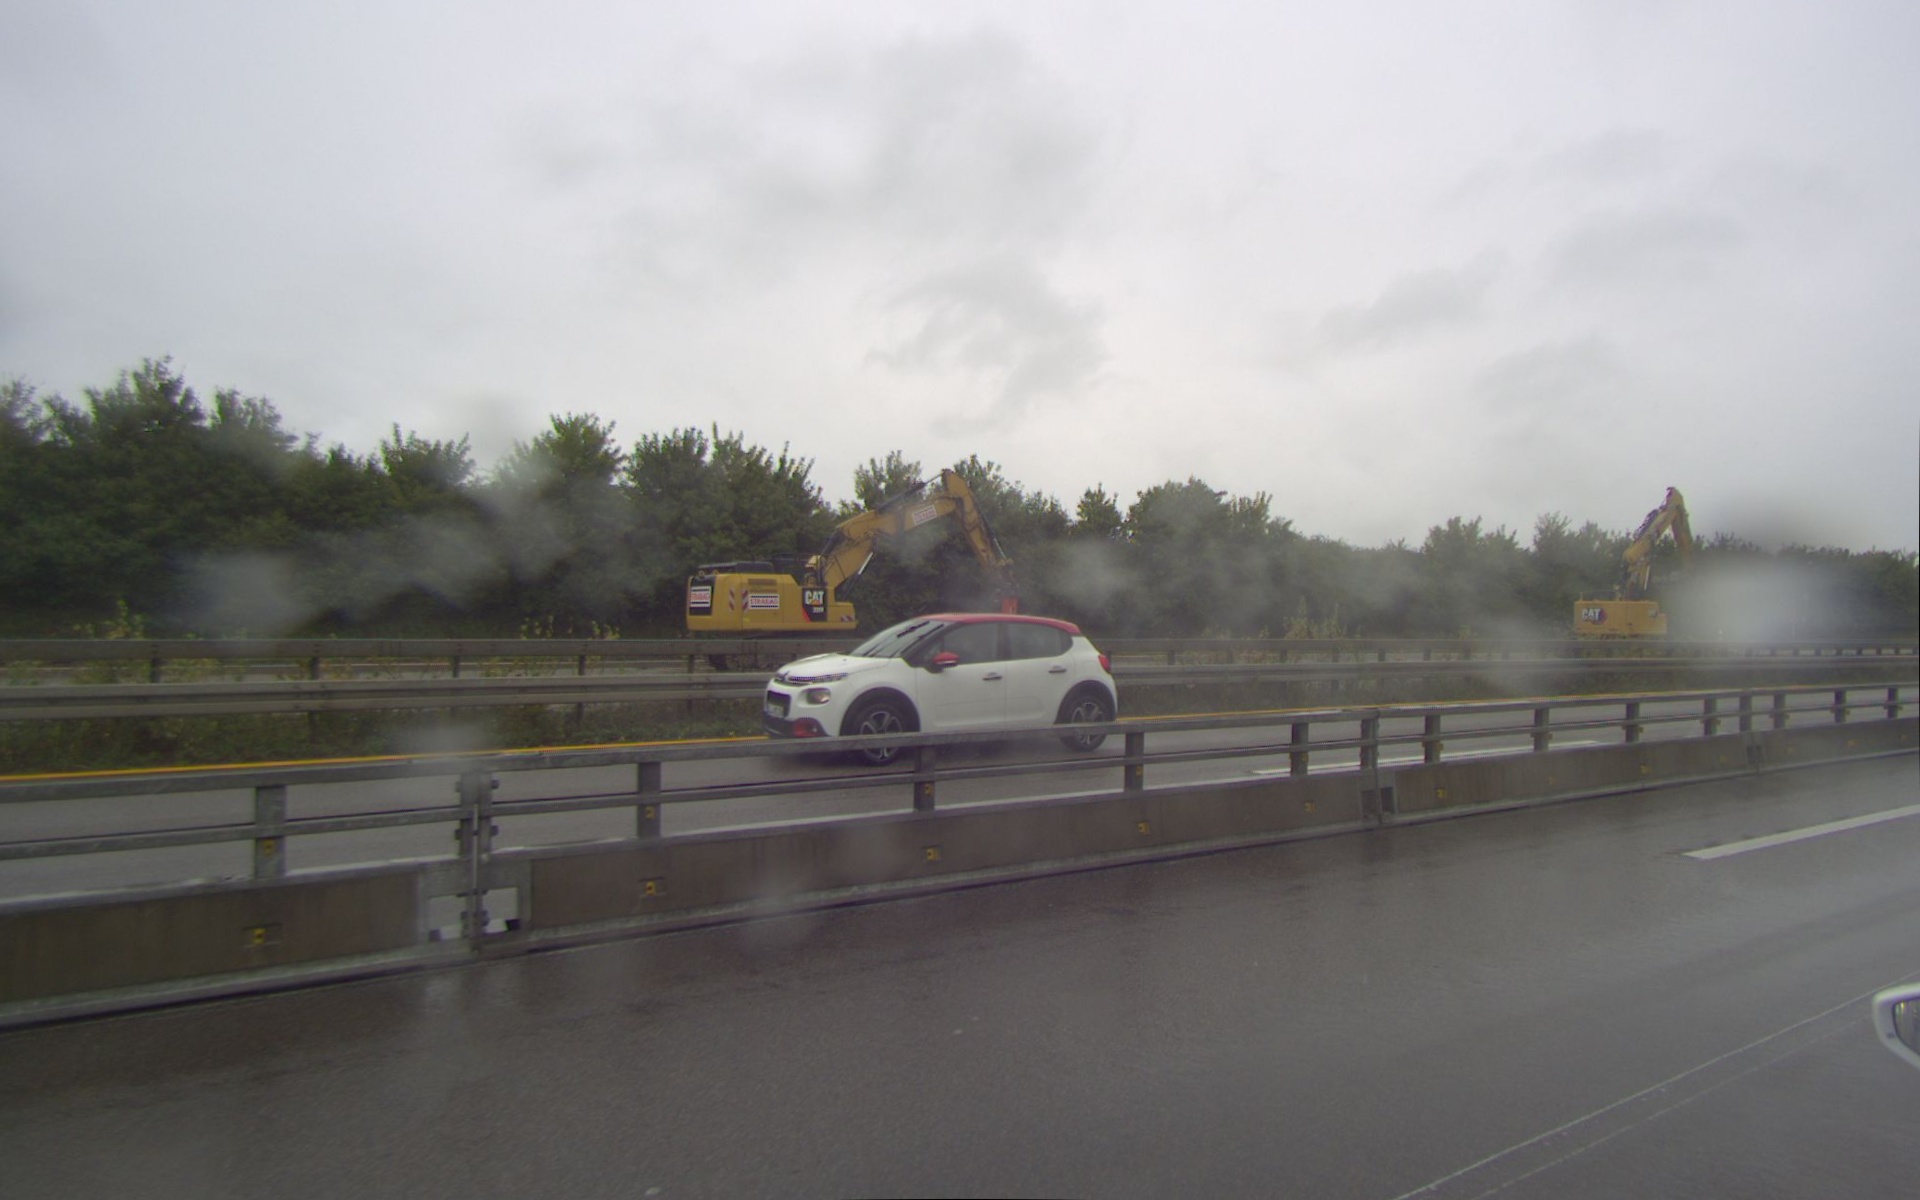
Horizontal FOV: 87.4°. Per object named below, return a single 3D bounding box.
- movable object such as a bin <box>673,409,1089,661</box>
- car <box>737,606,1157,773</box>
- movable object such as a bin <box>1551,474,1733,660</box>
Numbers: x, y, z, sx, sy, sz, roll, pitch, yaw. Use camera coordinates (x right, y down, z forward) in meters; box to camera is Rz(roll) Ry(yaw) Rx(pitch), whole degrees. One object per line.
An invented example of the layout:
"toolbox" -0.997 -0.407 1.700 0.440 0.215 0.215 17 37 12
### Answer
"movable object such as a bin" -2.068 -1.418 28.380 10.910 5.994 4.153 2 0 -29
"car" -0.096 0.884 11.156 4.246 1.525 1.984 2 -1 -30
"movable object such as a bin" 32.787 -1.377 48.238 8.202 8.252 3.583 2 0 -27
